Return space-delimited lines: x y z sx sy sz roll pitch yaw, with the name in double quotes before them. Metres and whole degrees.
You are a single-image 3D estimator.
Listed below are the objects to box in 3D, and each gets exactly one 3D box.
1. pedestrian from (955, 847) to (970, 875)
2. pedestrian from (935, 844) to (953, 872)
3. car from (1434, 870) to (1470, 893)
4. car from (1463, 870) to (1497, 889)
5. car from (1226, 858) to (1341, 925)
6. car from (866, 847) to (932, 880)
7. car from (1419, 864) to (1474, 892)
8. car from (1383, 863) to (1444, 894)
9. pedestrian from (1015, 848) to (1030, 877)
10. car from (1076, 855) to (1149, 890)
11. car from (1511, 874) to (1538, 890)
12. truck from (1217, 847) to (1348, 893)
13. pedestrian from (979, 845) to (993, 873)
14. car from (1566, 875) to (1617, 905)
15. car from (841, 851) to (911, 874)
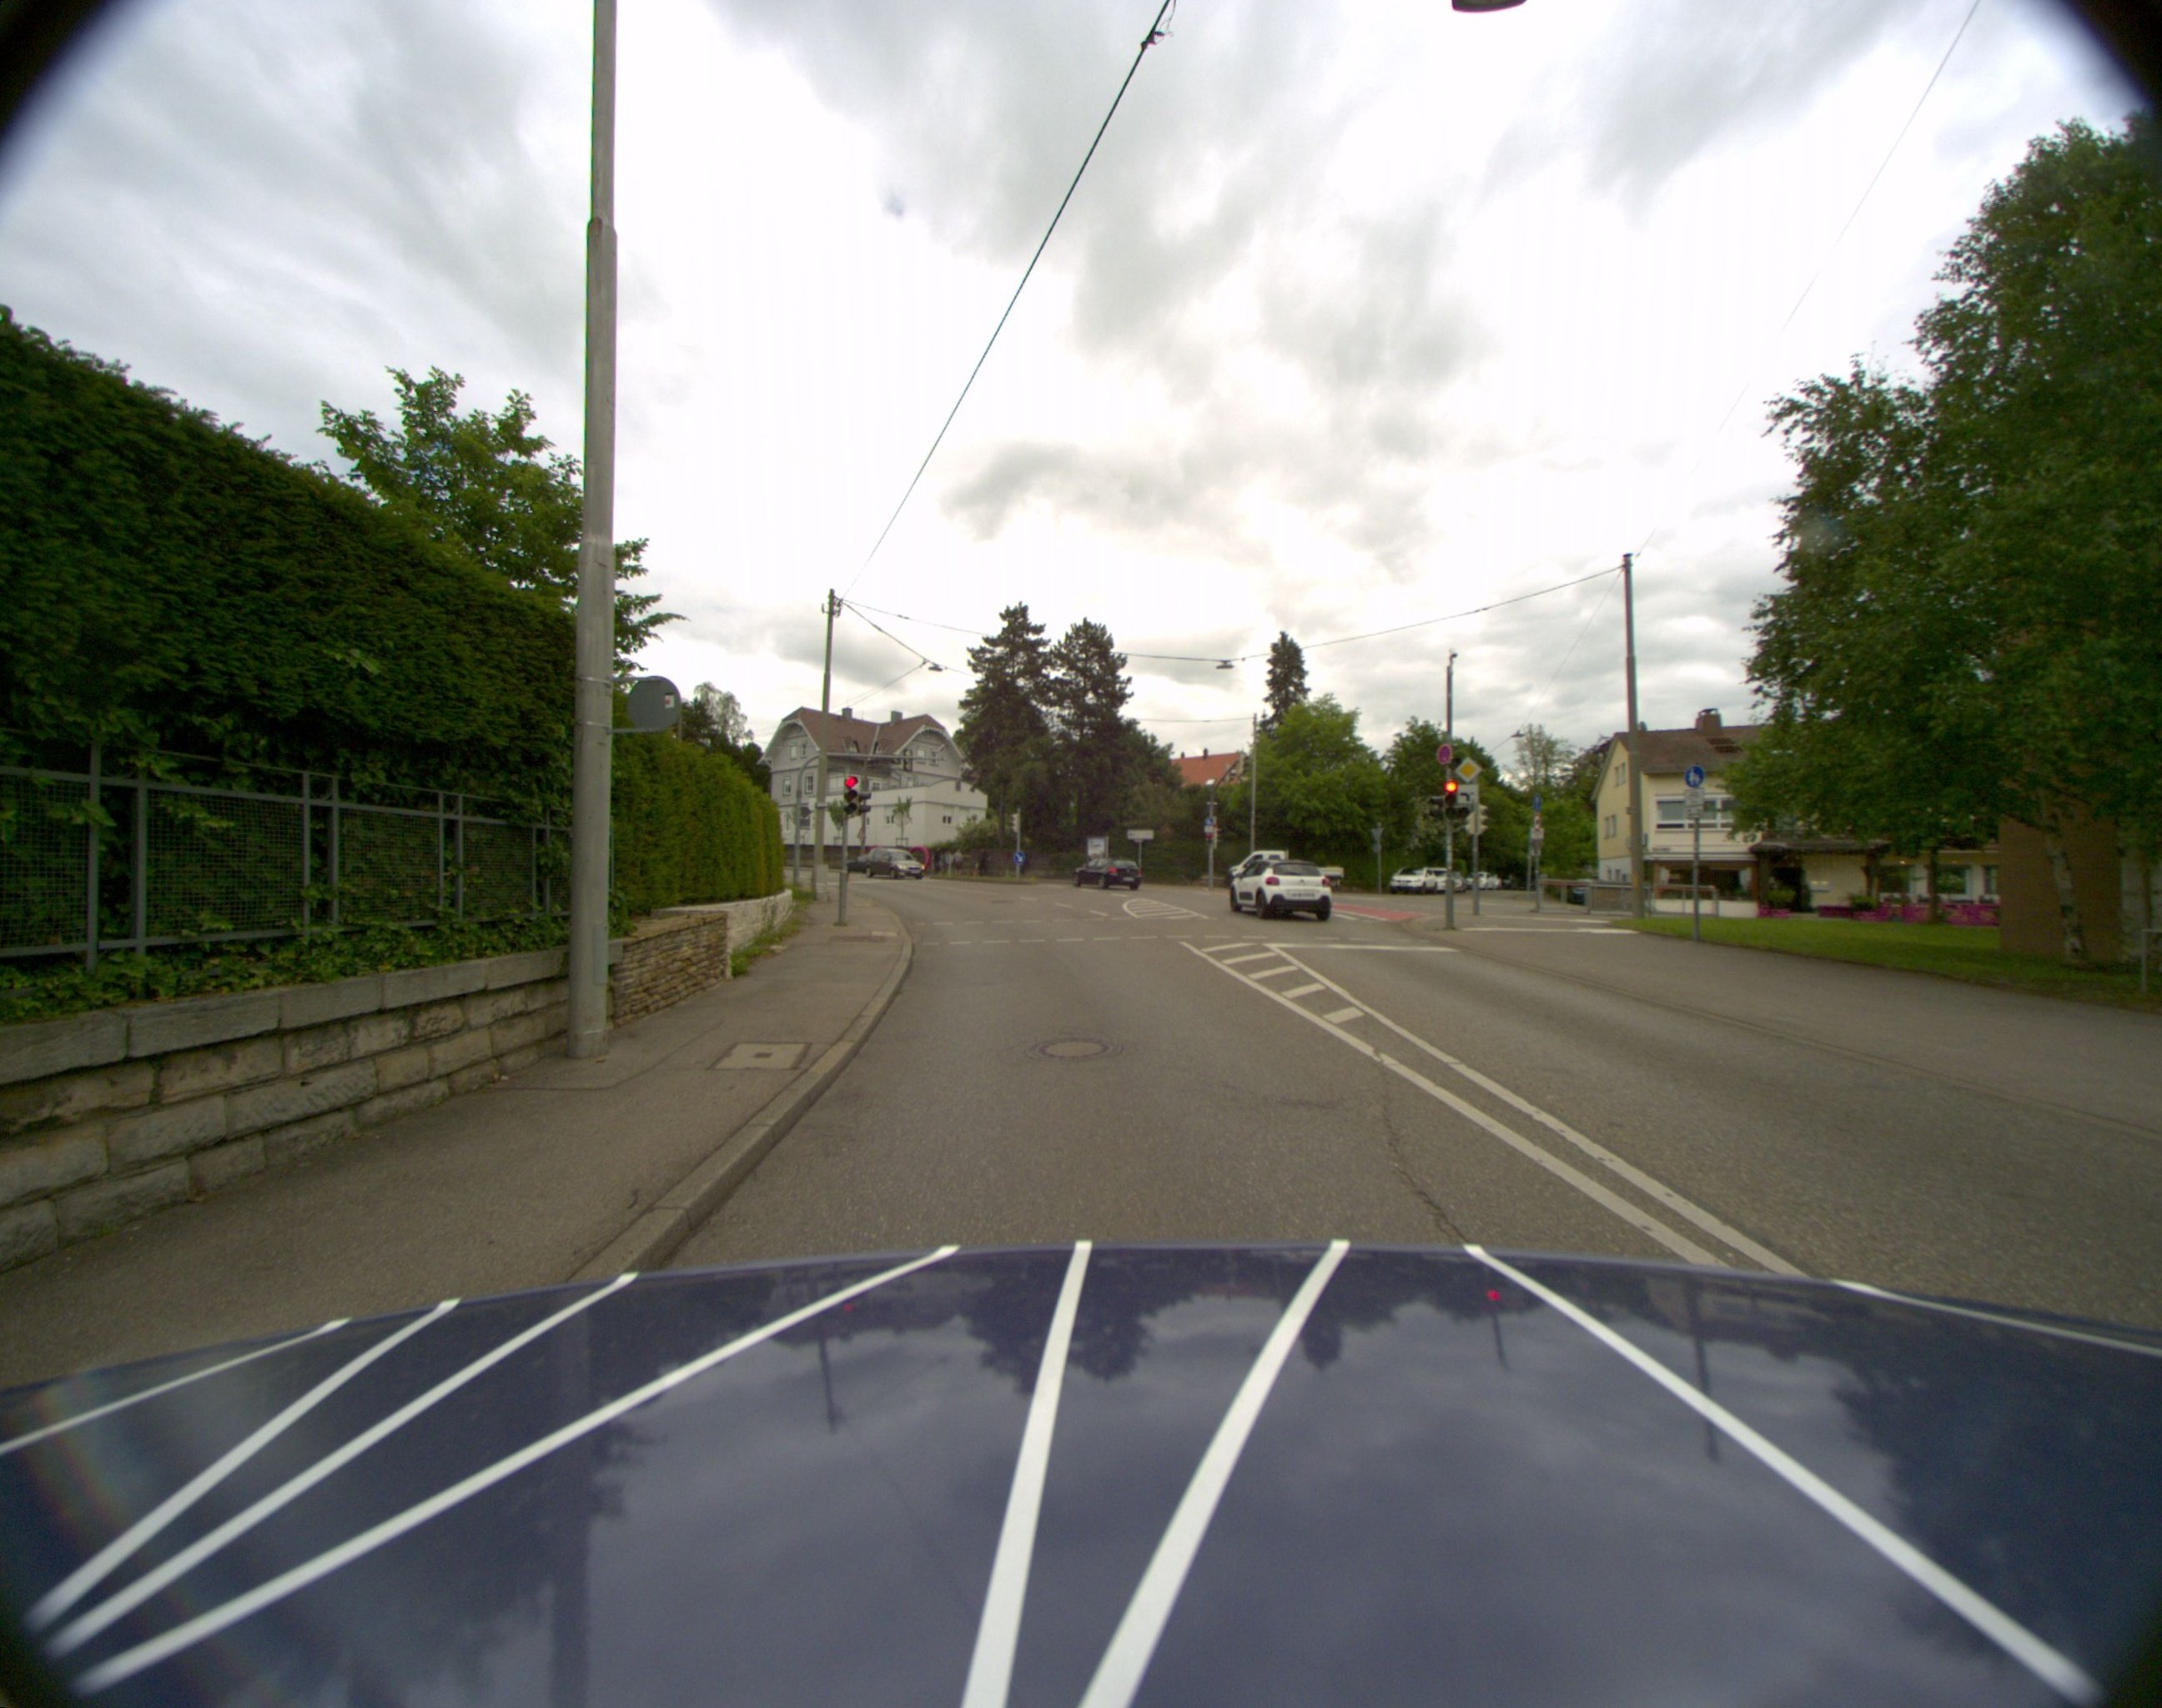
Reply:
"pedestrian" -7.591 0.458 48.689 0.665 1.777 0.614 2 0 31
"pedestrian" -8.985 0.295 49.800 0.686 1.803 0.882 2 0 32
"car" 25.921 1.883 52.994 1.867 1.444 3.739 0 0 32
"car" 34.361 2.163 65.404 1.866 1.577 3.739 1 0 38
"car" 5.082 0.896 19.576 1.700 1.431 3.755 3 0 -3
"car" -9.504 0.443 39.521 1.621 1.571 3.989 0 1 -41
"car" 23.018 1.499 47.792 1.994 1.603 4.009 2 0 42
"car" 19.161 1.393 43.694 1.994 1.603 4.009 2 0 42
"pedestrian" -3.699 0.522 48.061 0.611 1.824 0.680 2 0 29
"car" 1.350 0.801 34.353 1.770 1.400 3.993 2 0 -22
"car" 46.721 2.906 79.995 1.866 1.577 3.739 2 0 38
"truck" 10.991 0.827 41.719 6.705 2.176 2.532 2 1 14
"pedestrian" -6.143 0.332 49.334 0.611 1.824 0.605 2 0 30
"car" 27.549 1.890 41.079 1.875 1.440 4.008 2 0 29
"car" -13.411 0.525 49.582 4.853 1.320 1.856 2 1 38
